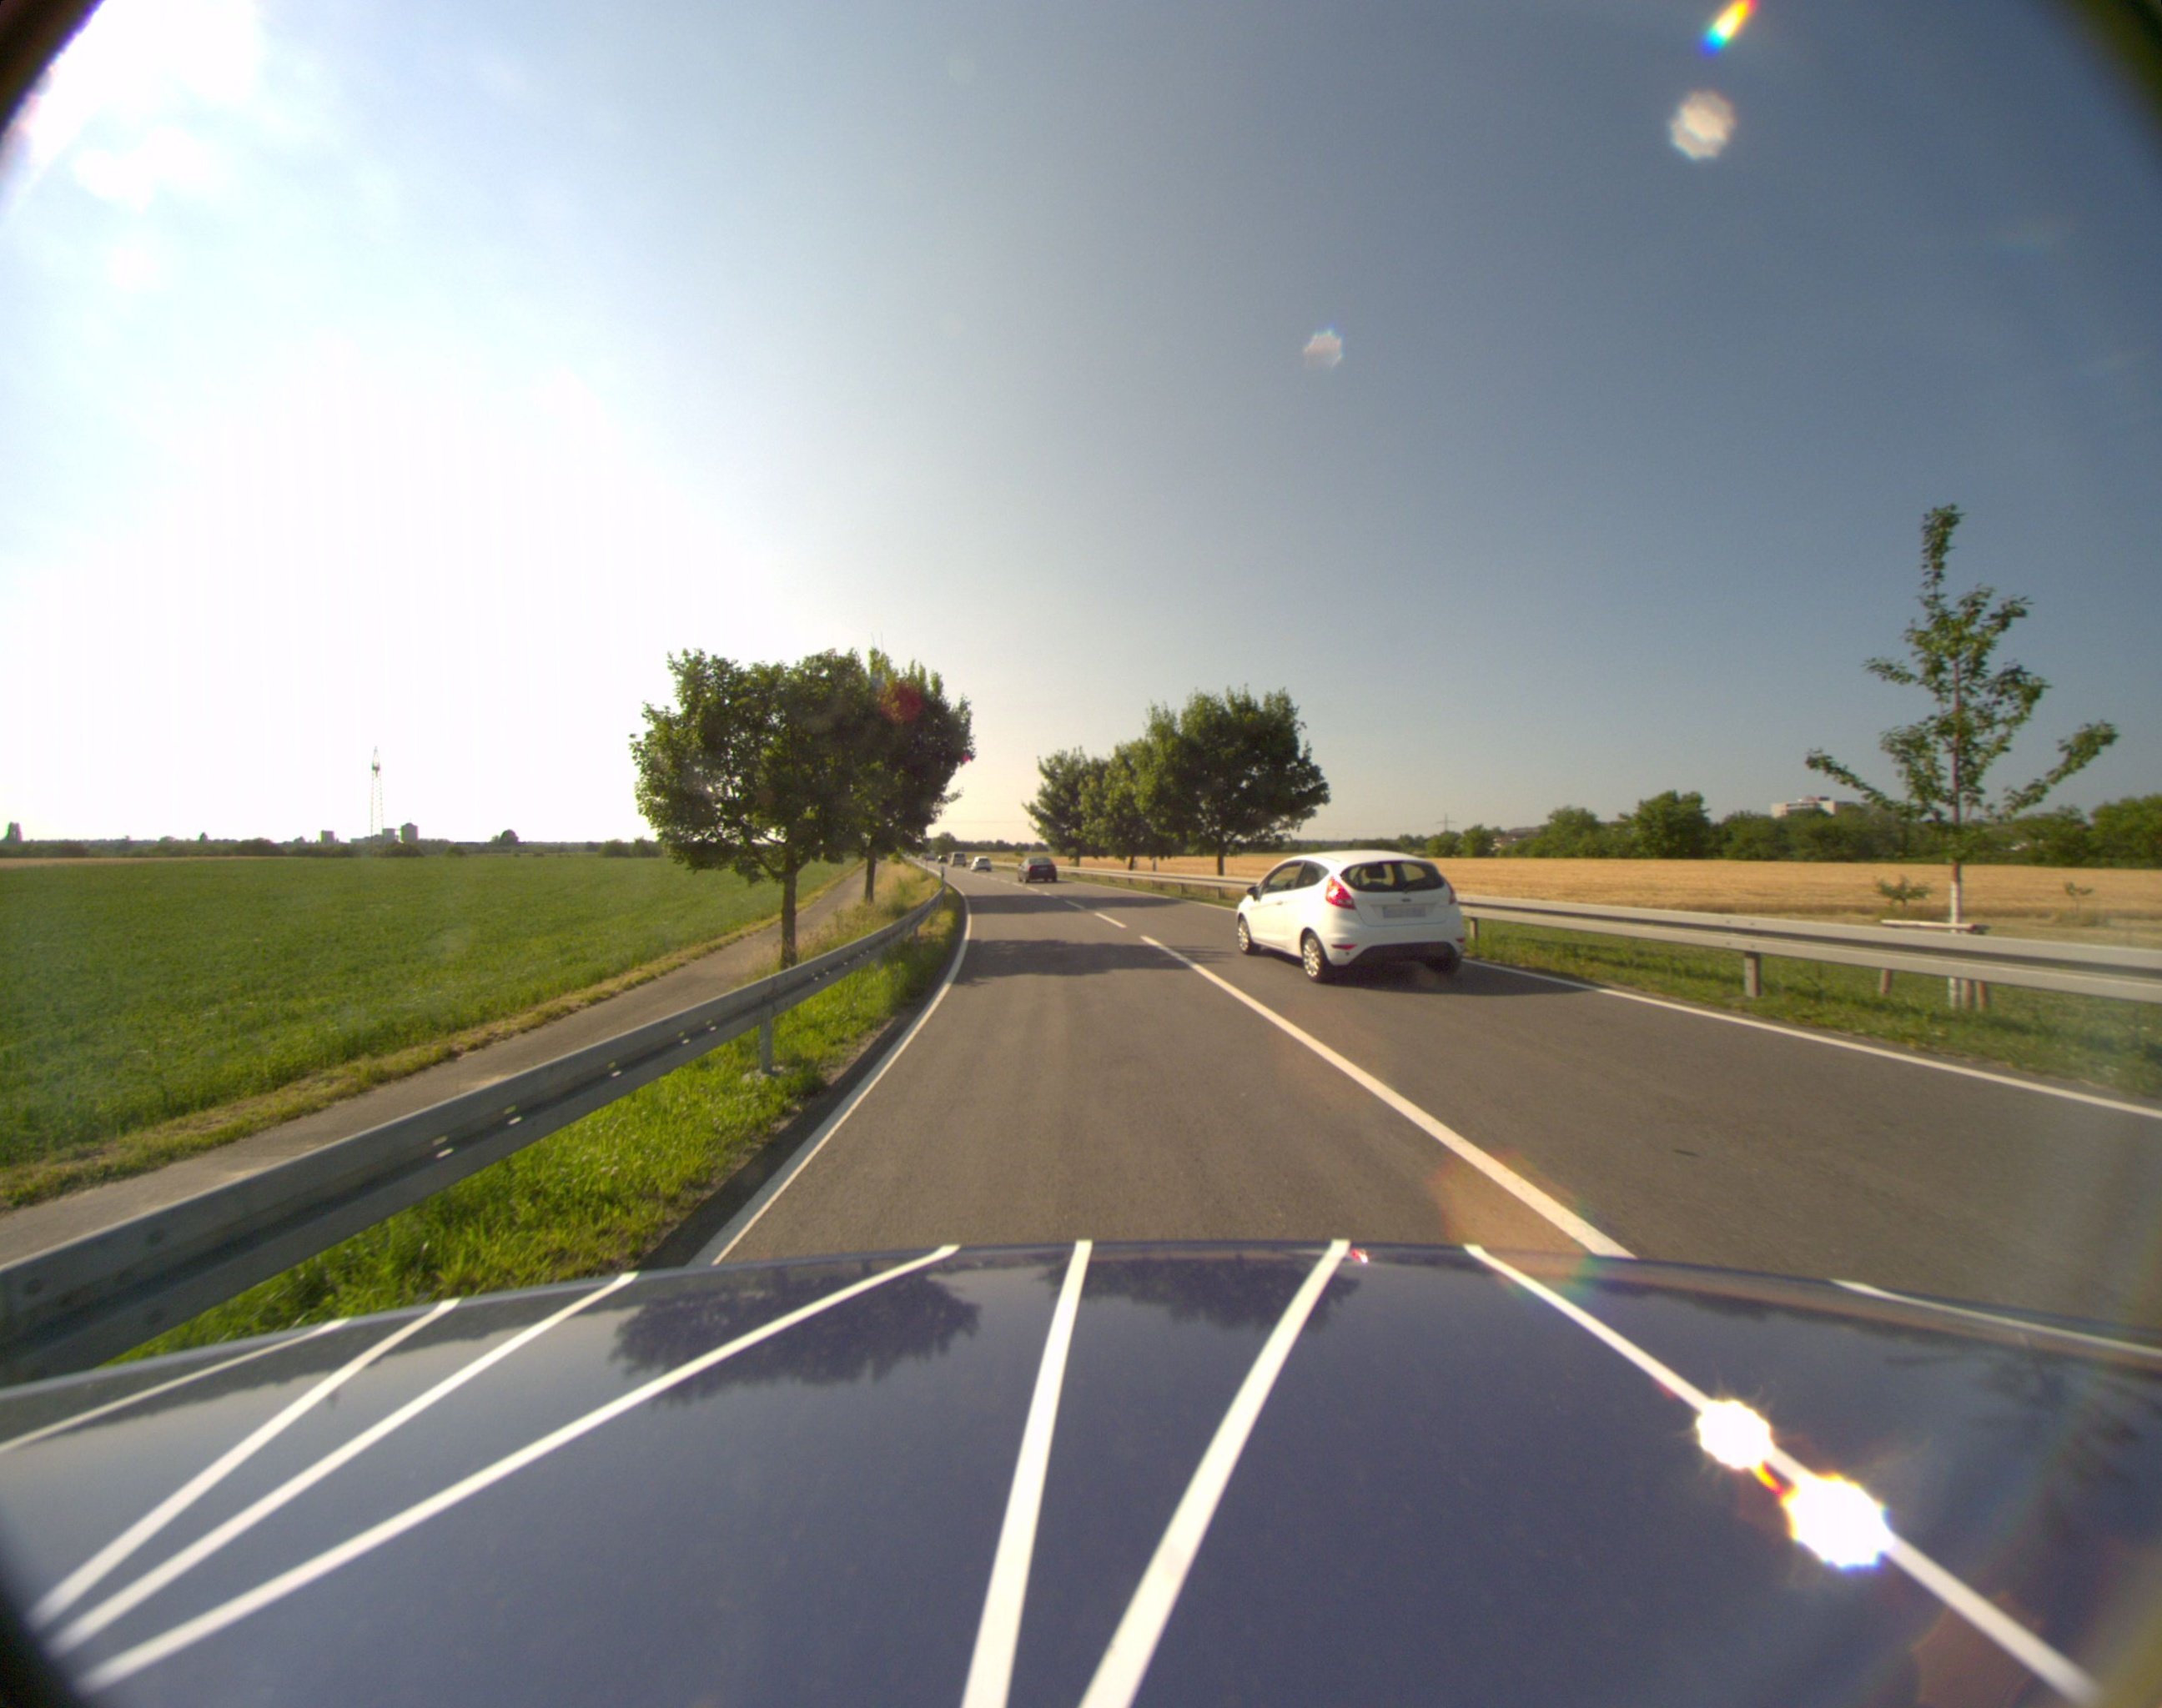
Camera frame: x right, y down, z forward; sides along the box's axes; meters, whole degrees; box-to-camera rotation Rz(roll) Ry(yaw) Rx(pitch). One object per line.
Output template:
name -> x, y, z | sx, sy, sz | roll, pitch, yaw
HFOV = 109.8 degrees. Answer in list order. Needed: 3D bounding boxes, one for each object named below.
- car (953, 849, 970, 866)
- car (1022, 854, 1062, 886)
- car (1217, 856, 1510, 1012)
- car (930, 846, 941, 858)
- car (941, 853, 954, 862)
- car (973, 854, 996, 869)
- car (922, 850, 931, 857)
car -> -16.103, 0.453, 102.534 | 1.919, 2.002, 4.777 | -2, 2, -13
car -> -2.290, 0.850, 43.439 | 1.843, 1.535, 4.240 | -3, 2, -8
car -> 3.258, 0.806, 9.776 | 1.858, 1.440, 4.151 | -2, 1, -6
car -> -34.980, -0.501, 182.953 | 2.407, 2.561, 5.367 | 0, 2, -14
car -> -24.622, 0.680, 139.598 | 2.016, 1.576, 4.820 | 0, 2, -14
car -> -9.436, 0.731, 74.034 | 1.758, 1.421, 3.841 | -2, 0, -13
car -> -44.764, -0.236, 219.879 | 2.407, 1.680, 5.366 | 0, 3, -14
